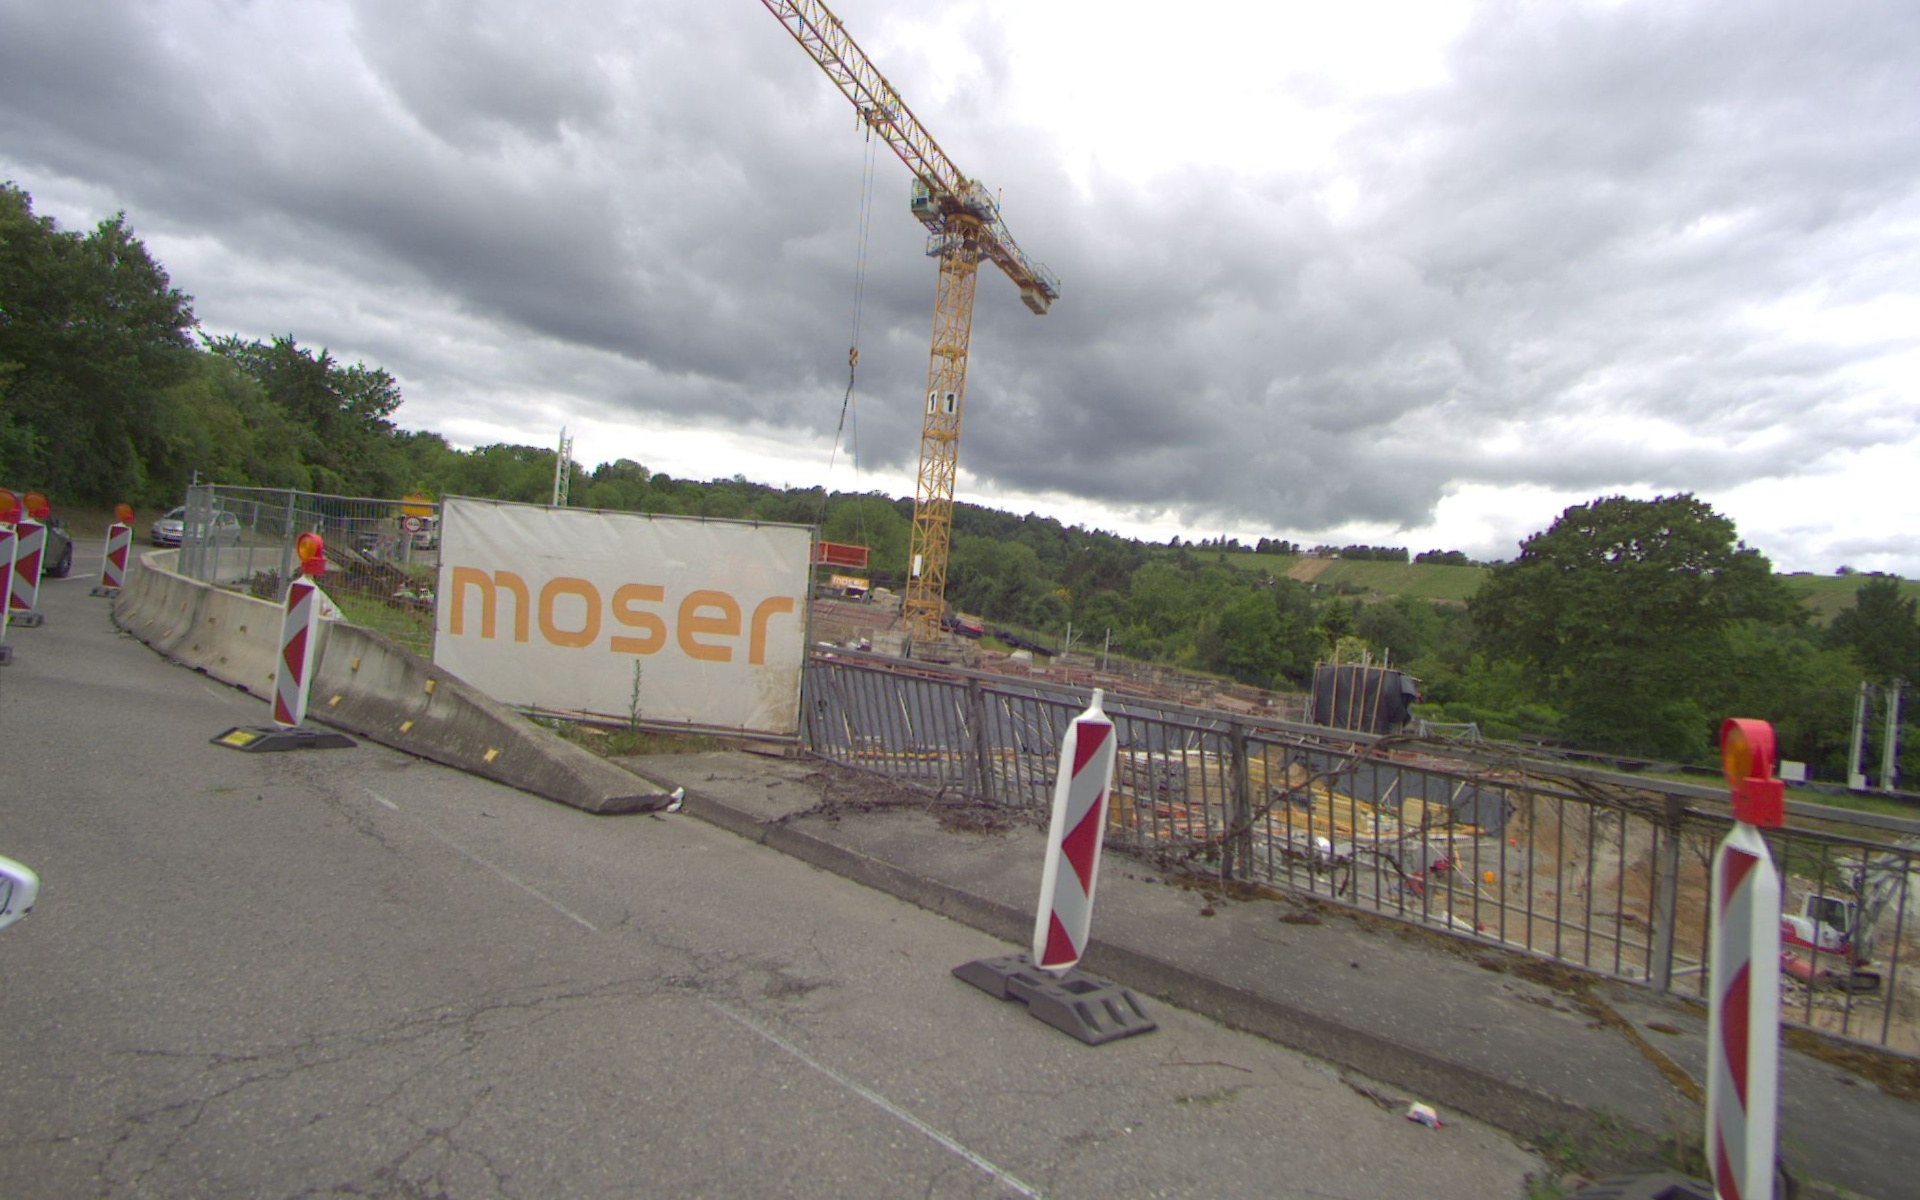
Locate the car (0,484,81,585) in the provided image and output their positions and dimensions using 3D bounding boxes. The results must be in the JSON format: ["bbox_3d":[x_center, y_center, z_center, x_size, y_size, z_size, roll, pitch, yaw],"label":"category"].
[{"bbox_3d":[-16.913,-1.248,17.338,1.785,1.570,3.968,9,-1,-30],"label":"car"}]

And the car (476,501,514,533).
[{"bbox_3d":[-35.586,-6.318,77.060,1.970,2.039,3.985,6,0,-17],"label":"car"}]

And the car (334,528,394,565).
[{"bbox_3d":[-30.786,-2.729,52.079,1.800,1.570,3.772,8,0,-19],"label":"car"}]

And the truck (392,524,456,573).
[{"bbox_3d":[-42.249,-4.086,79.557,2.788,3.379,8.341,6,1,-19],"label":"truck"}]

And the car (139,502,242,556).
[{"bbox_3d":[-28.727,-2.605,37.710,1.638,1.570,4.170,8,-1,-19],"label":"car"}]

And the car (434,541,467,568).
[{"bbox_3d":[-37.446,-3.318,73.996,1.693,1.696,3.980,6,0,-22],"label":"car"}]

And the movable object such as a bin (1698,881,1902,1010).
[{"bbox_3d":[25.605,10.497,30.731,4.236,2.781,3.030,9,-1,-24],"label":"movable object such as a bin"}]
